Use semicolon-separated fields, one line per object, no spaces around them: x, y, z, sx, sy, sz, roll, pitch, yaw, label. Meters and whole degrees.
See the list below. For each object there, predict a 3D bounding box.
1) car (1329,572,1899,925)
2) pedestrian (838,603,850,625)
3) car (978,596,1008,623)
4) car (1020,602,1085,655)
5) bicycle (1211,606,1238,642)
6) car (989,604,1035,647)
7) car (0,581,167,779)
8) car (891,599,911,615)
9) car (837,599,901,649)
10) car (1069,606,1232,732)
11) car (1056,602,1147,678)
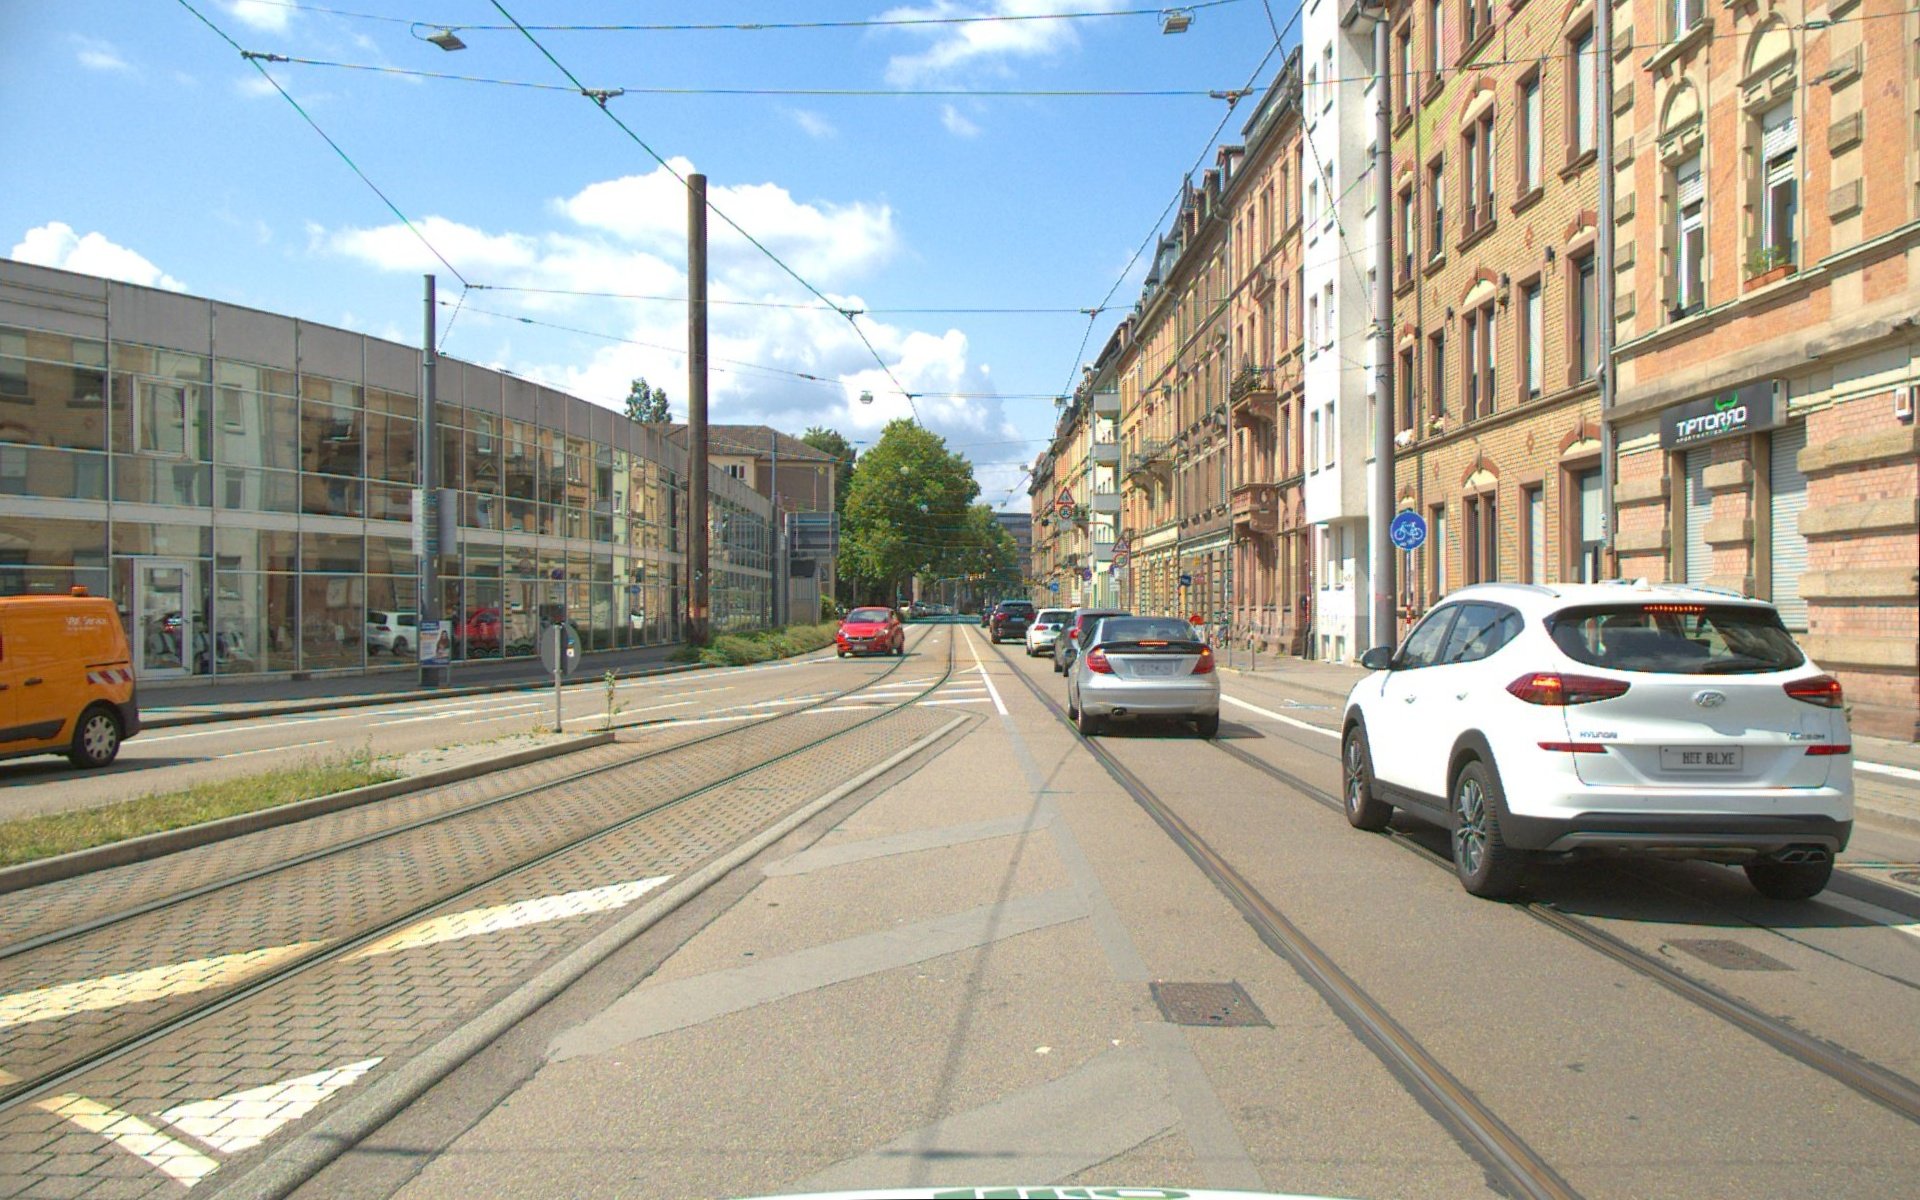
3.598;0.717;10.009;1.814;1.662;4.181;1;0;0;car
-10.202;1.231;145.390;0.862;1.898;1.081;-1;0;0;pedestrian
2.335;0.654;117.530;1.953;1.892;3.999;0;0;-2;car
2.834;0.852;51.229;1.777;1.551;3.955;0;0;0;car
9.033;0.820;56.584;0.574;1.199;2.205;-1;0;1;bicycle
2.151;1.035;68.931;1.777;1.691;4.084;0;0;0;car
-10.086;0.789;16.181;1.870;1.898;4.371;-2;0;12;car
-6.236;0.763;175.417;1.910;1.660;4.575;1;0;0;car
-2.755;0.692;50.582;1.667;1.453;3.902;0;0;1;car
2.324;0.805;21.074;1.776;1.445;4.189;0;0;3;car
3.062;0.837;36.524;1.777;1.551;4.086;0;0;2;car
